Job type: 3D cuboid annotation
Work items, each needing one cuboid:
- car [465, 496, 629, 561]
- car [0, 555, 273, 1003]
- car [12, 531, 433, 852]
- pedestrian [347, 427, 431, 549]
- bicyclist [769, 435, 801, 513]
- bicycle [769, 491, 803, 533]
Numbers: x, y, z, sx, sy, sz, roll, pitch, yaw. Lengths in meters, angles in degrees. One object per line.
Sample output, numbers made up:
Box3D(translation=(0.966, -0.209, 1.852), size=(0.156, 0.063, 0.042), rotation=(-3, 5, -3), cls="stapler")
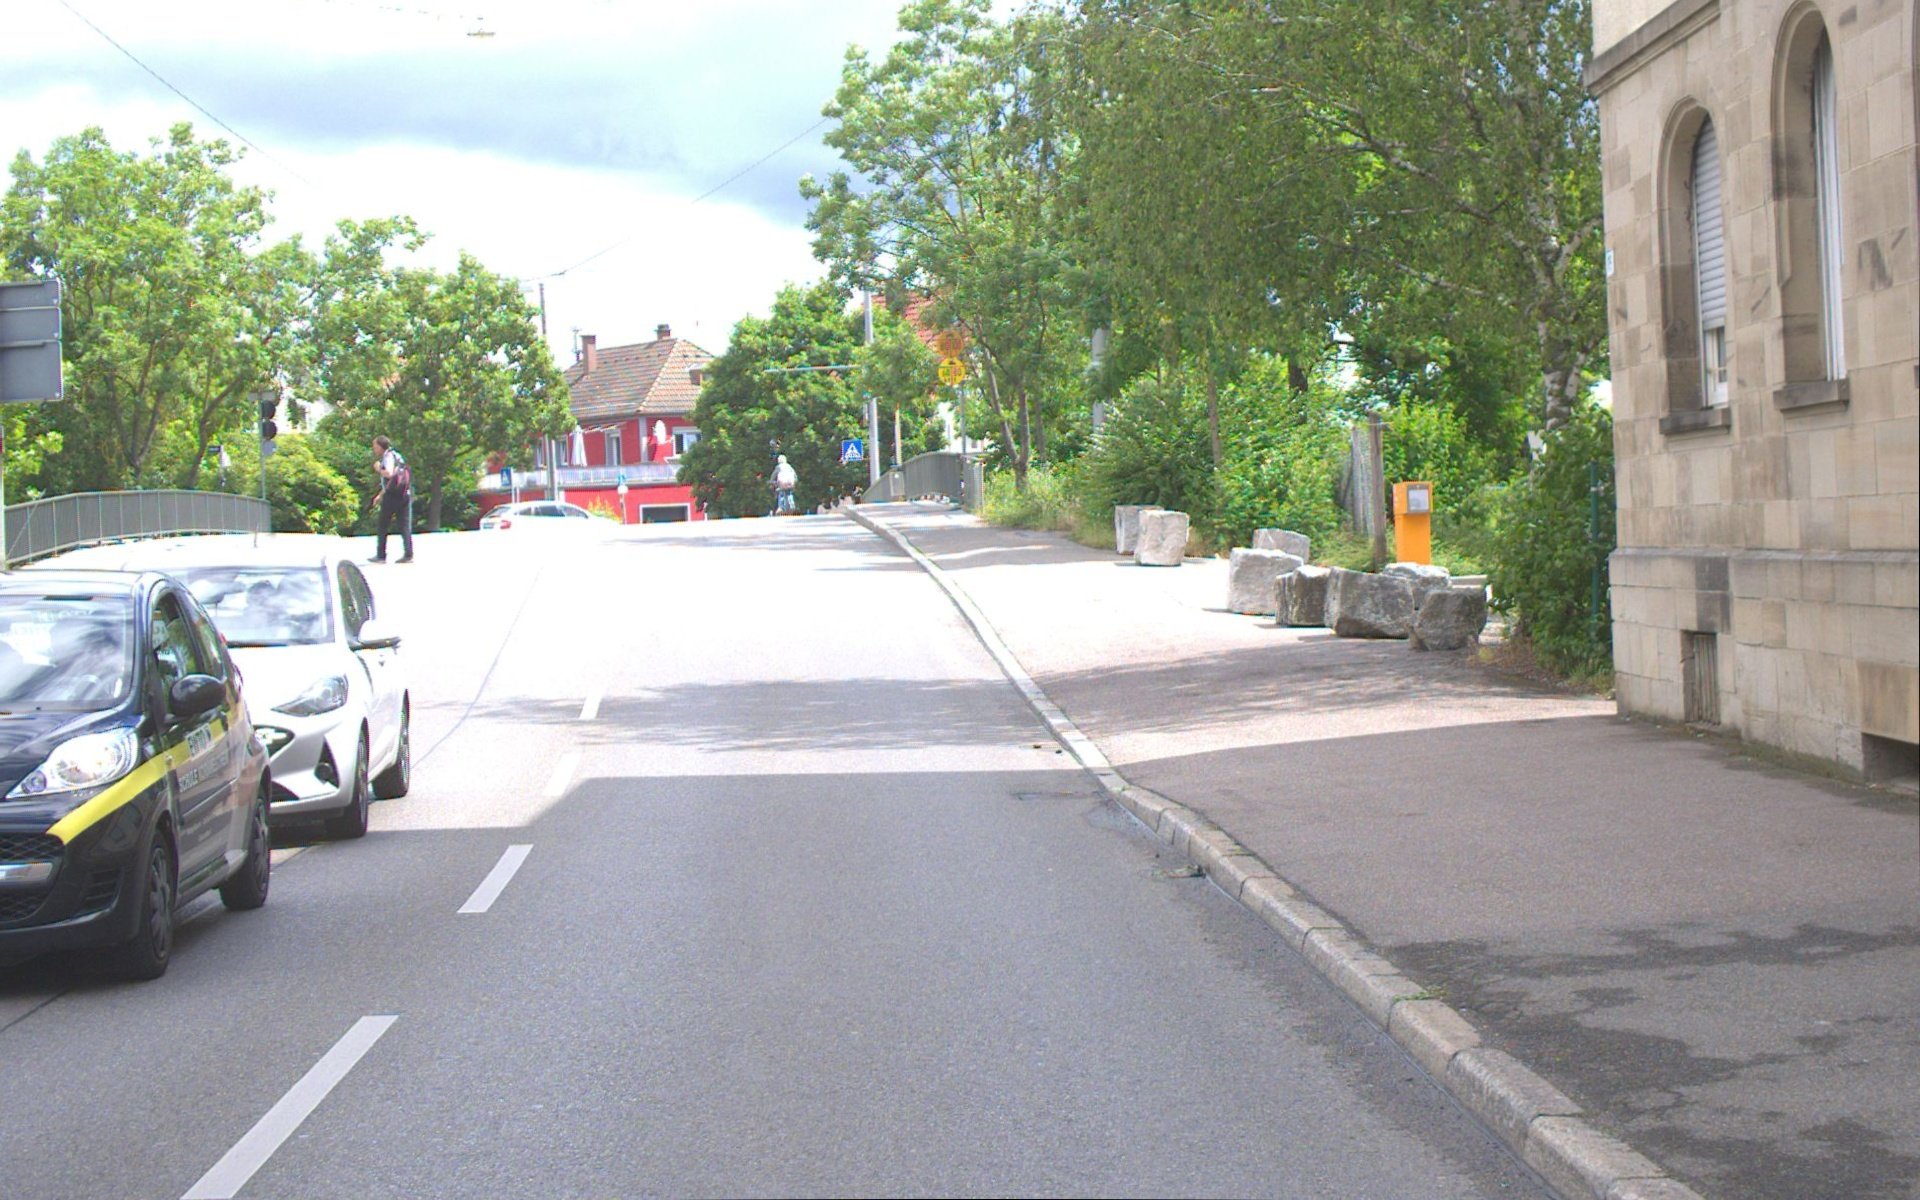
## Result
Box3D(translation=(-12.386, -2.133, 103.205), size=(4.418, 1.825, 2.000), rotation=(1, 0, -33), cls="car")
Box3D(translation=(-3.678, 0.583, 12.972), size=(1.718, 1.479, 3.323), rotation=(0, 0, -4), cls="car")
Box3D(translation=(-3.935, 0.437, 18.935), size=(1.718, 1.576, 4.001), rotation=(0, 0, -4), cls="car")
Box3D(translation=(-8.721, -1.722, 52.562), size=(1.033, 1.830, 0.999), rotation=(-1, 2, 3), cls="pedestrian")
Box3D(translation=(-4.320, -3.097, 84.730), size=(0.684, 1.820, 1.080), rotation=(-1, -3, 1), cls="bicyclist")
Box3D(translation=(-4.290, -2.162, 84.793), size=(0.687, 0.875, 2.101), rotation=(-1, -3, 1), cls="bicycle")
